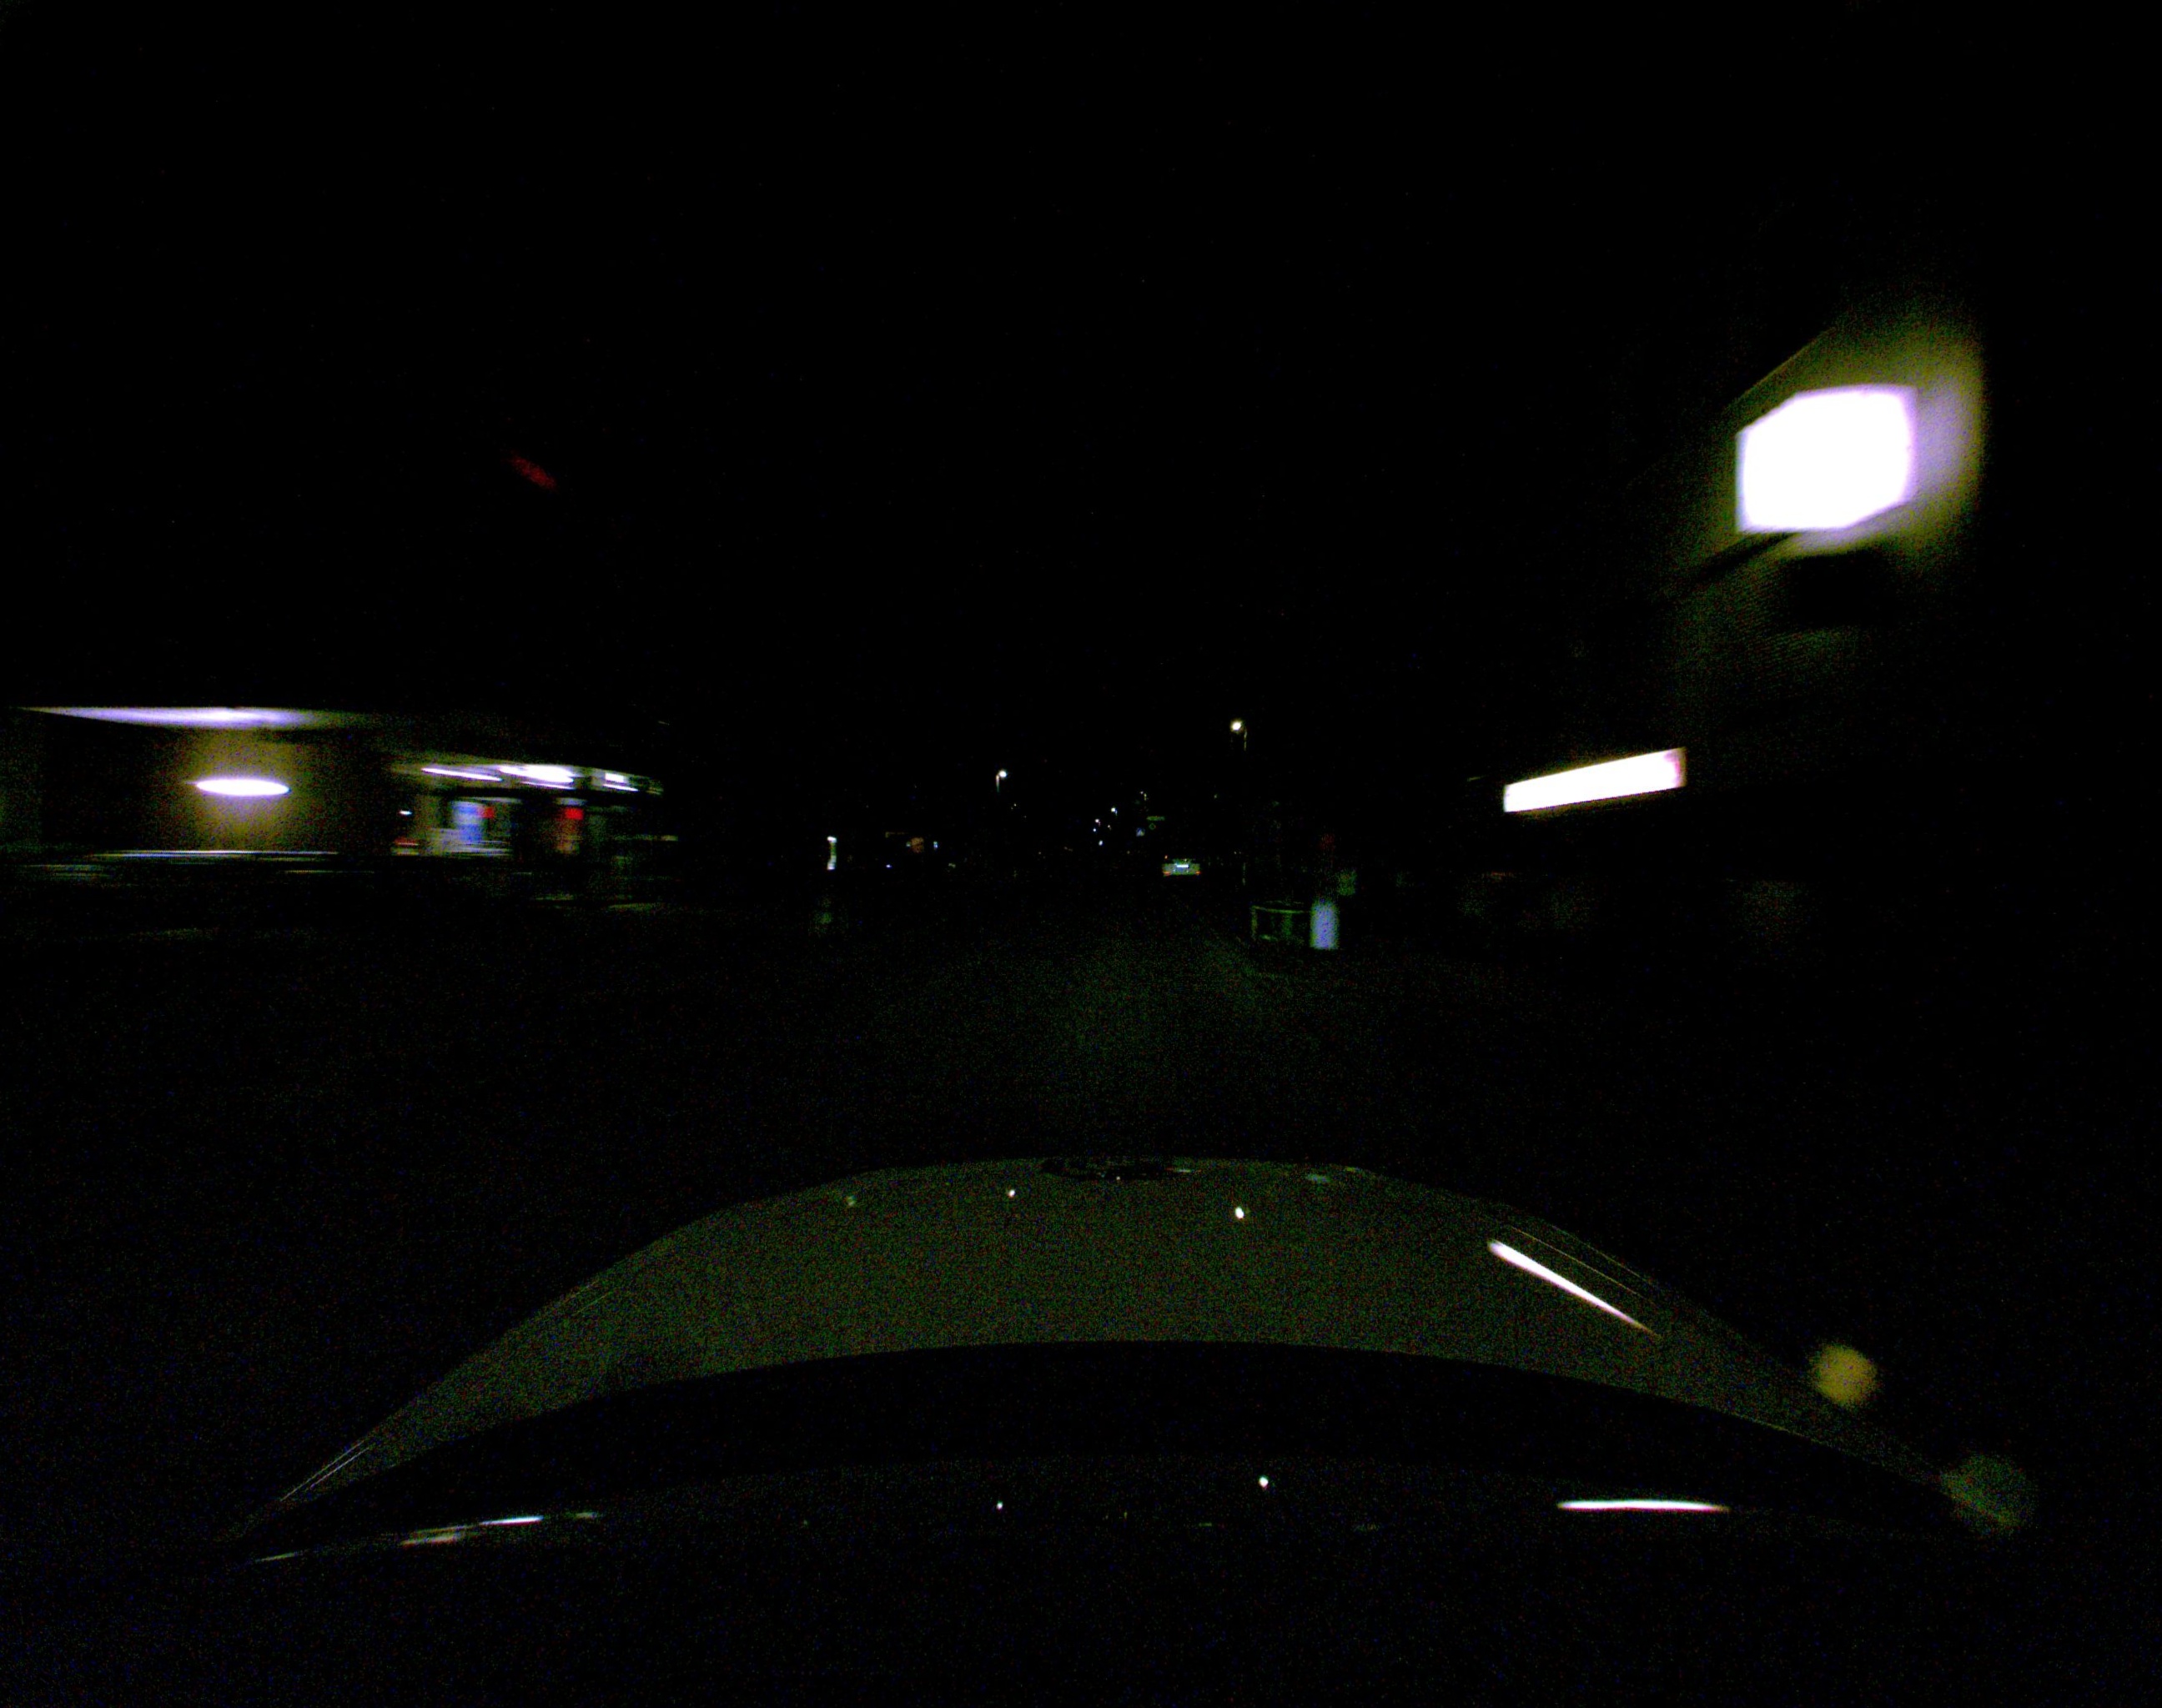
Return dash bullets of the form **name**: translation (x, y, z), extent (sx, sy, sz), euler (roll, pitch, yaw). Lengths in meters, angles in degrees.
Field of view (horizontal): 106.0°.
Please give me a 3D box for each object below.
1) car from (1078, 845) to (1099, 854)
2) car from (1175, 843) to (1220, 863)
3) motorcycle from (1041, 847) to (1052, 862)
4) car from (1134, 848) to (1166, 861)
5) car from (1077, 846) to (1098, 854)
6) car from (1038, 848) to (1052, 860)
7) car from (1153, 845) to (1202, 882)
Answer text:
- **car**: translation (1.912, -1.119, 209.869), extent (5.171, 2.013, 2.099), euler (-2, 0, -4)
- **car**: translation (10.113, -0.076, 70.799), extent (3.497, 1.524, 1.819), euler (-3, 0, -3)
- **motorcycle**: translation (-3.497, 0.068, 82.133), extent (0.742, 1.452, 2.200), euler (0, 0, 7)
- **car**: translation (8.318, 0.055, 98.194), extent (3.698, 1.473, 1.730), euler (0, 0, 0)
- **car**: translation (1.745, -1.050, 206.796), extent (5.171, 2.013, 2.099), euler (-2, 0, -4)
- **car**: translation (-4.467, 0.002, 101.453), extent (1.683, 1.510, 4.276), euler (0, 0, -1)
- **car**: translation (4.377, 0.388, 37.536), extent (1.737, 1.569, 4.207), euler (-1, 0, 0)
